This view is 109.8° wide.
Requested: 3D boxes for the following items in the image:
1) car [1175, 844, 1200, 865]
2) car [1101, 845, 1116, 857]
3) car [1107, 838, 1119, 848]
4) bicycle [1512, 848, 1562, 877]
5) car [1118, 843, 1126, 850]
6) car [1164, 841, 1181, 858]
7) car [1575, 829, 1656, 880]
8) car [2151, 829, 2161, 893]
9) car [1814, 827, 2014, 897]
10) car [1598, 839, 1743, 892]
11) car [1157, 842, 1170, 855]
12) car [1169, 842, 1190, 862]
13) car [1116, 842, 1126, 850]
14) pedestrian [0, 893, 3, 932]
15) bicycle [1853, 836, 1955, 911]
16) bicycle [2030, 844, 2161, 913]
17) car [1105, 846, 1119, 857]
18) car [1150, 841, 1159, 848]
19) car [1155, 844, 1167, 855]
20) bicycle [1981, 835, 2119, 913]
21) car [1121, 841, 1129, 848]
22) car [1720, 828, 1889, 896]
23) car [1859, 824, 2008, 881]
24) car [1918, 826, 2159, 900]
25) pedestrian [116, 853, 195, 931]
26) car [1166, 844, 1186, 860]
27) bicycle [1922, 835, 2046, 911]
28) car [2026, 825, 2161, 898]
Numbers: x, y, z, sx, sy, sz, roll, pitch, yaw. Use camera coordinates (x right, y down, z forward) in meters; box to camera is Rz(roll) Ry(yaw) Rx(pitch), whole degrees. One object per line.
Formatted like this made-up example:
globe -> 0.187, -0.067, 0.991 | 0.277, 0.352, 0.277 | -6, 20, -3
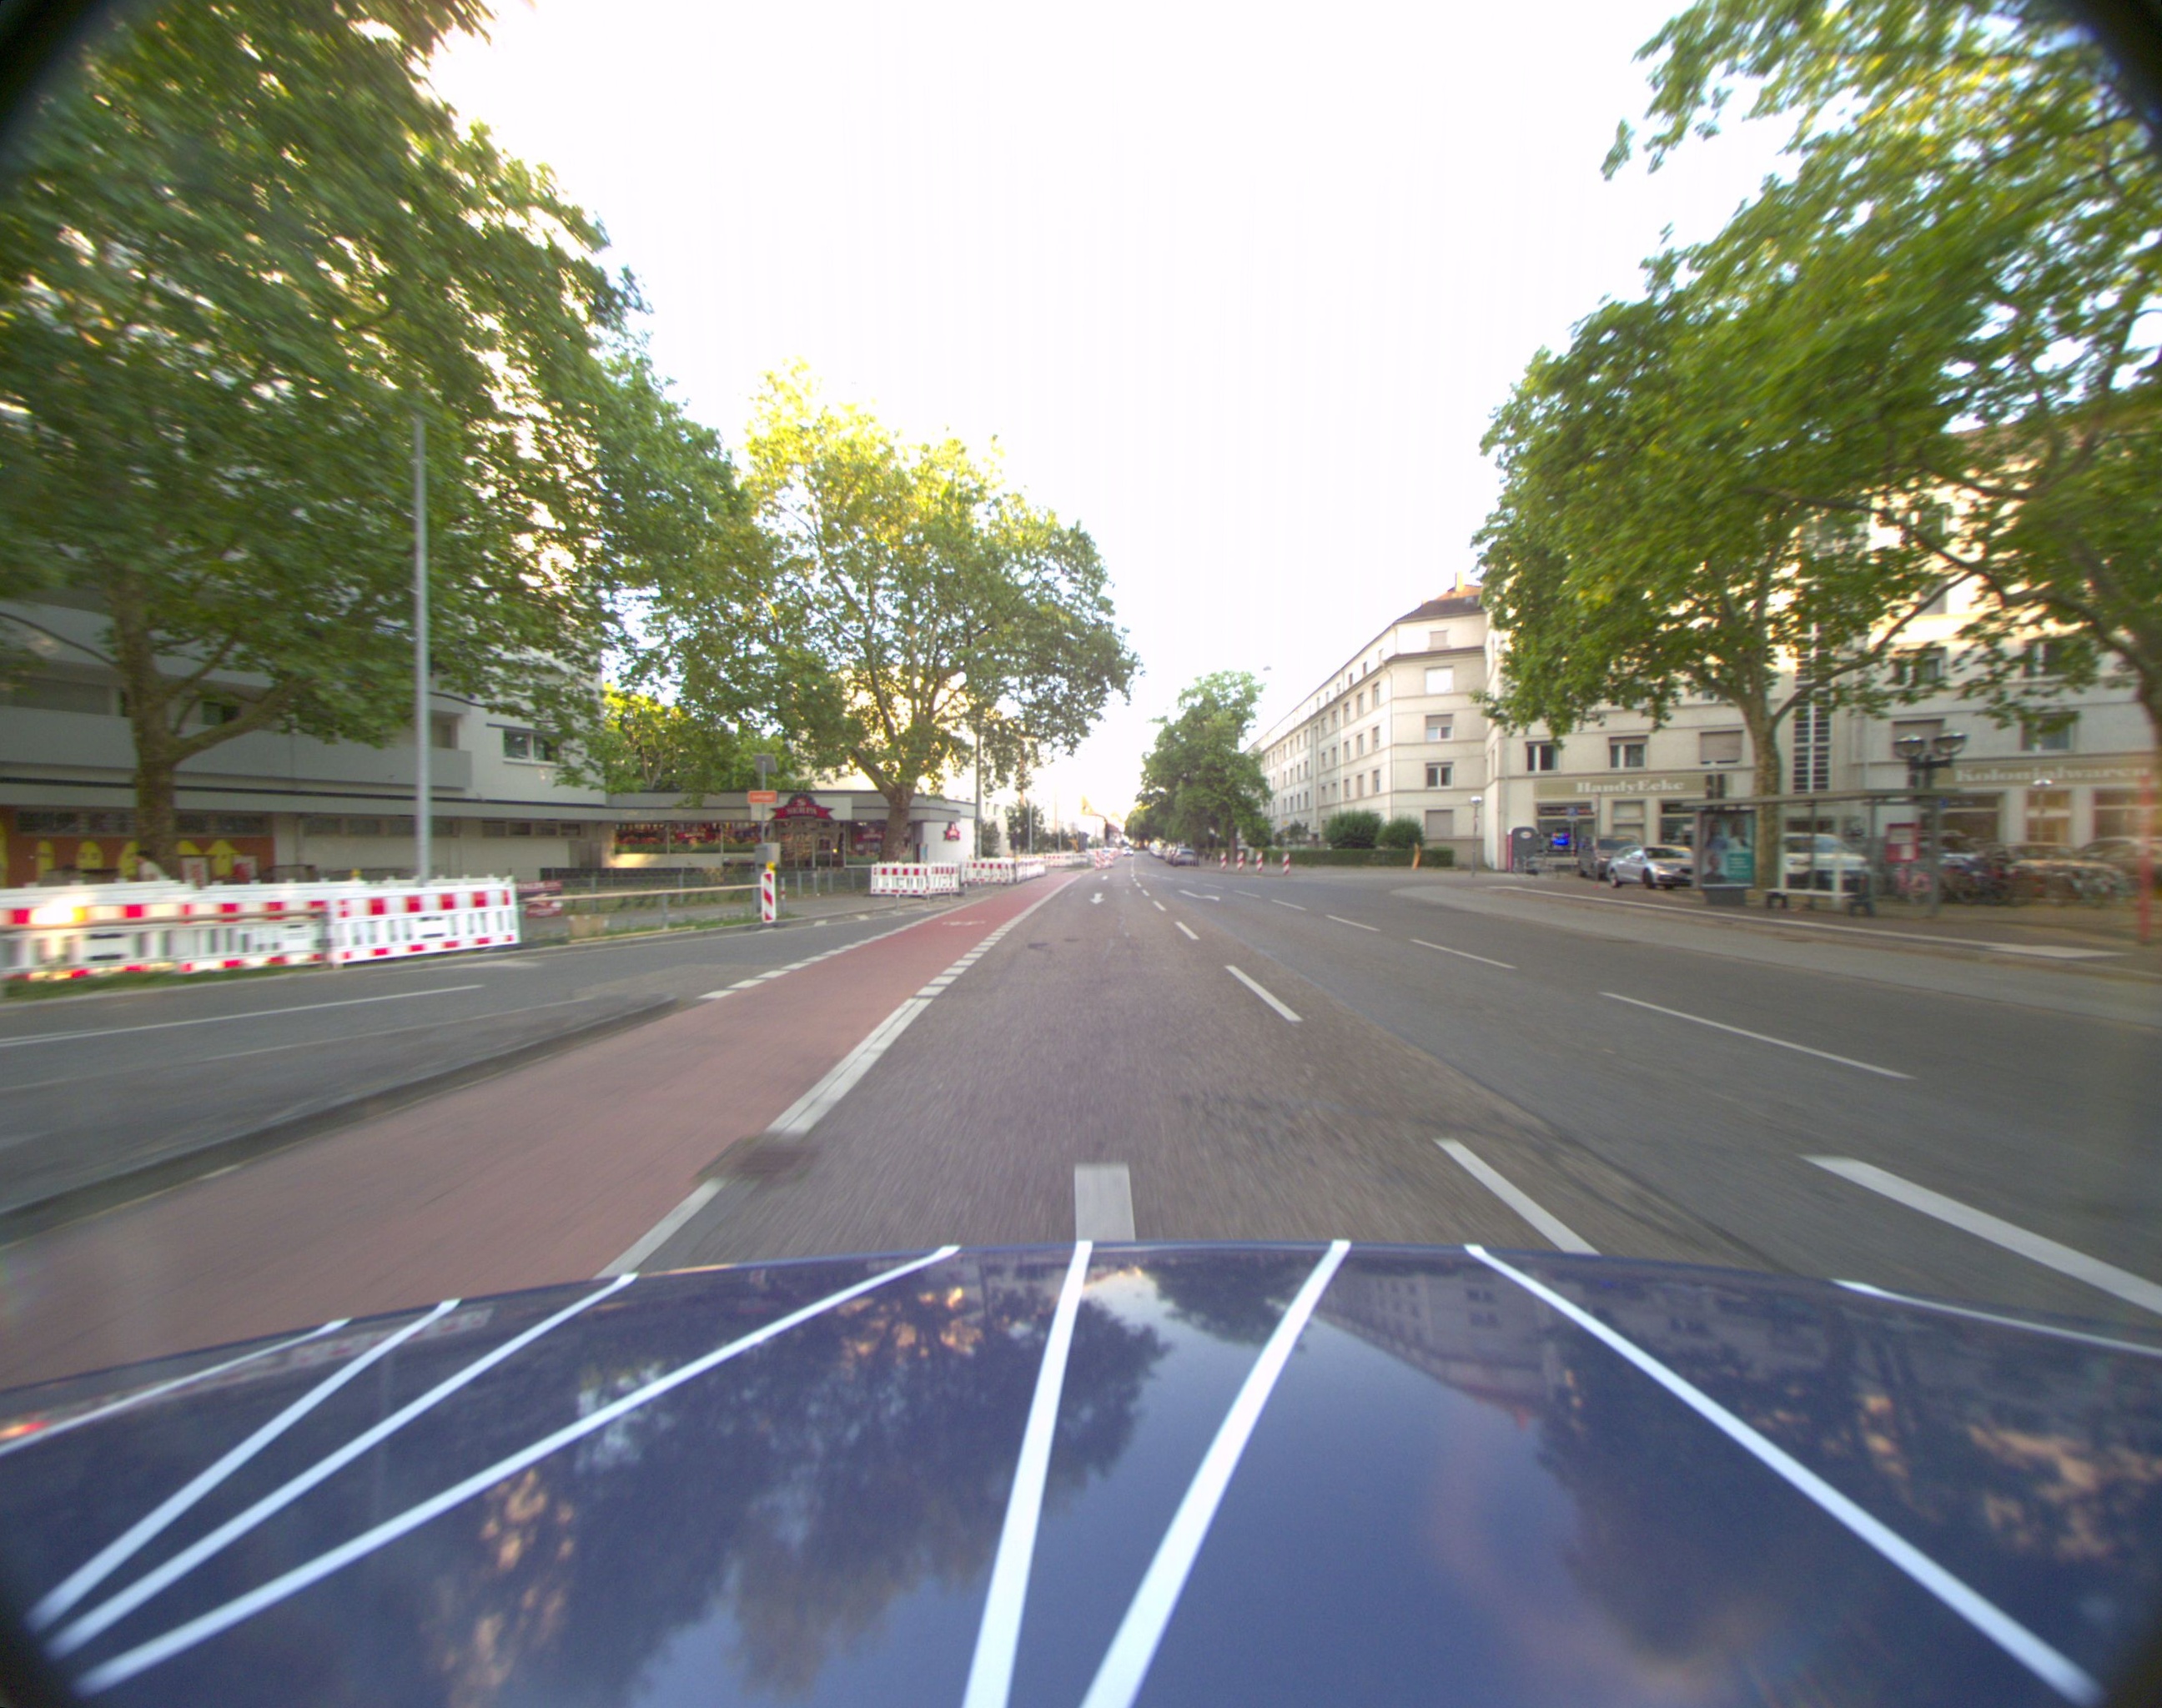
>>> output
car -> 8.912, 0.016, 63.648 | 1.892, 1.591, 4.001 | -1, 2, 6
car -> 4.049, -0.448, 110.578 | 1.892, 1.591, 4.260 | -1, 2, 6
car -> 5.562, -1.972, 131.342 | 1.892, 1.651, 4.260 | -1, 2, 6
bicycle -> 19.798, 0.360, 33.007 | 1.802, 1.199, 0.648 | 0, 2, 34
car -> 10.513, -1.905, 194.317 | 1.892, 1.591, 4.260 | -1, 2, 6
car -> 10.194, -0.506, 84.891 | 1.892, 1.764, 4.260 | -1, 2, 6
car -> 23.014, -0.049, 32.912 | 1.995, 1.945, 4.646 | 1, 3, 24
car -> 29.941, 0.195, 18.663 | 1.995, 1.771, 4.648 | 1, 0, 22
car -> 23.475, 0.205, 21.717 | 1.995, 1.771, 4.648 | 1, 0, 22
car -> 18.442, 0.339, 24.079 | 1.996, 1.495, 4.646 | 1, 0, 16
car -> 12.788, -0.856, 117.656 | 1.892, 1.855, 4.260 | -1, 2, 6
car -> 9.318, -0.207, 72.286 | 1.892, 1.681, 4.260 | -1, 2, 6
car -> 8.739, -1.678, 165.715 | 1.892, 1.591, 4.260 | -1, 2, 6
pedestrian -> -22.196, 0.811, 14.998 | 0.641, 1.579, 0.746 | -2, 2, -5
bicycle -> 19.402, 0.405, 18.001 | 0.690, 1.605, 2.749 | 0, 2, 26
bicycle -> 22.765, 0.497, 17.061 | 0.690, 1.376, 2.749 | 0, 2, 26
car -> 4.979, -0.394, 122.857 | 1.892, 1.726, 4.260 | -1, 2, 6
car -> 17.019, -2.229, 175.480 | 1.892, 1.591, 4.260 | -1, 2, 6
car -> 13.452, -0.786, 127.322 | 1.892, 1.591, 4.260 | -1, 2, 6
bicycle -> 21.901, 0.388, 17.280 | 0.807, 1.605, 2.749 | 0, 2, 26
car -> 11.885, -2.601, 205.911 | 1.892, 1.591, 4.260 | -1, 2, 6
car -> 21.013, 0.212, 22.371 | 1.995, 1.771, 4.648 | 1, 0, 22
car -> 32.258, -0.143, 28.977 | 1.995, 1.945, 4.646 | 1, 3, 24
car -> 25.582, 0.224, 20.624 | 1.995, 1.771, 4.648 | 1, 0, 22
pedestrian -> -19.505, 0.775, 16.024 | 0.641, 1.579, 0.746 | -1, 2, 1
car -> 9.862, -0.234, 78.951 | 1.892, 1.591, 4.260 | -1, 2, 6
bicycle -> 20.889, 0.376, 17.678 | 0.807, 1.605, 2.749 | 0, 2, 26
car -> 27.760, 0.212, 19.723 | 1.995, 1.771, 4.648 | 1, 0, 22
